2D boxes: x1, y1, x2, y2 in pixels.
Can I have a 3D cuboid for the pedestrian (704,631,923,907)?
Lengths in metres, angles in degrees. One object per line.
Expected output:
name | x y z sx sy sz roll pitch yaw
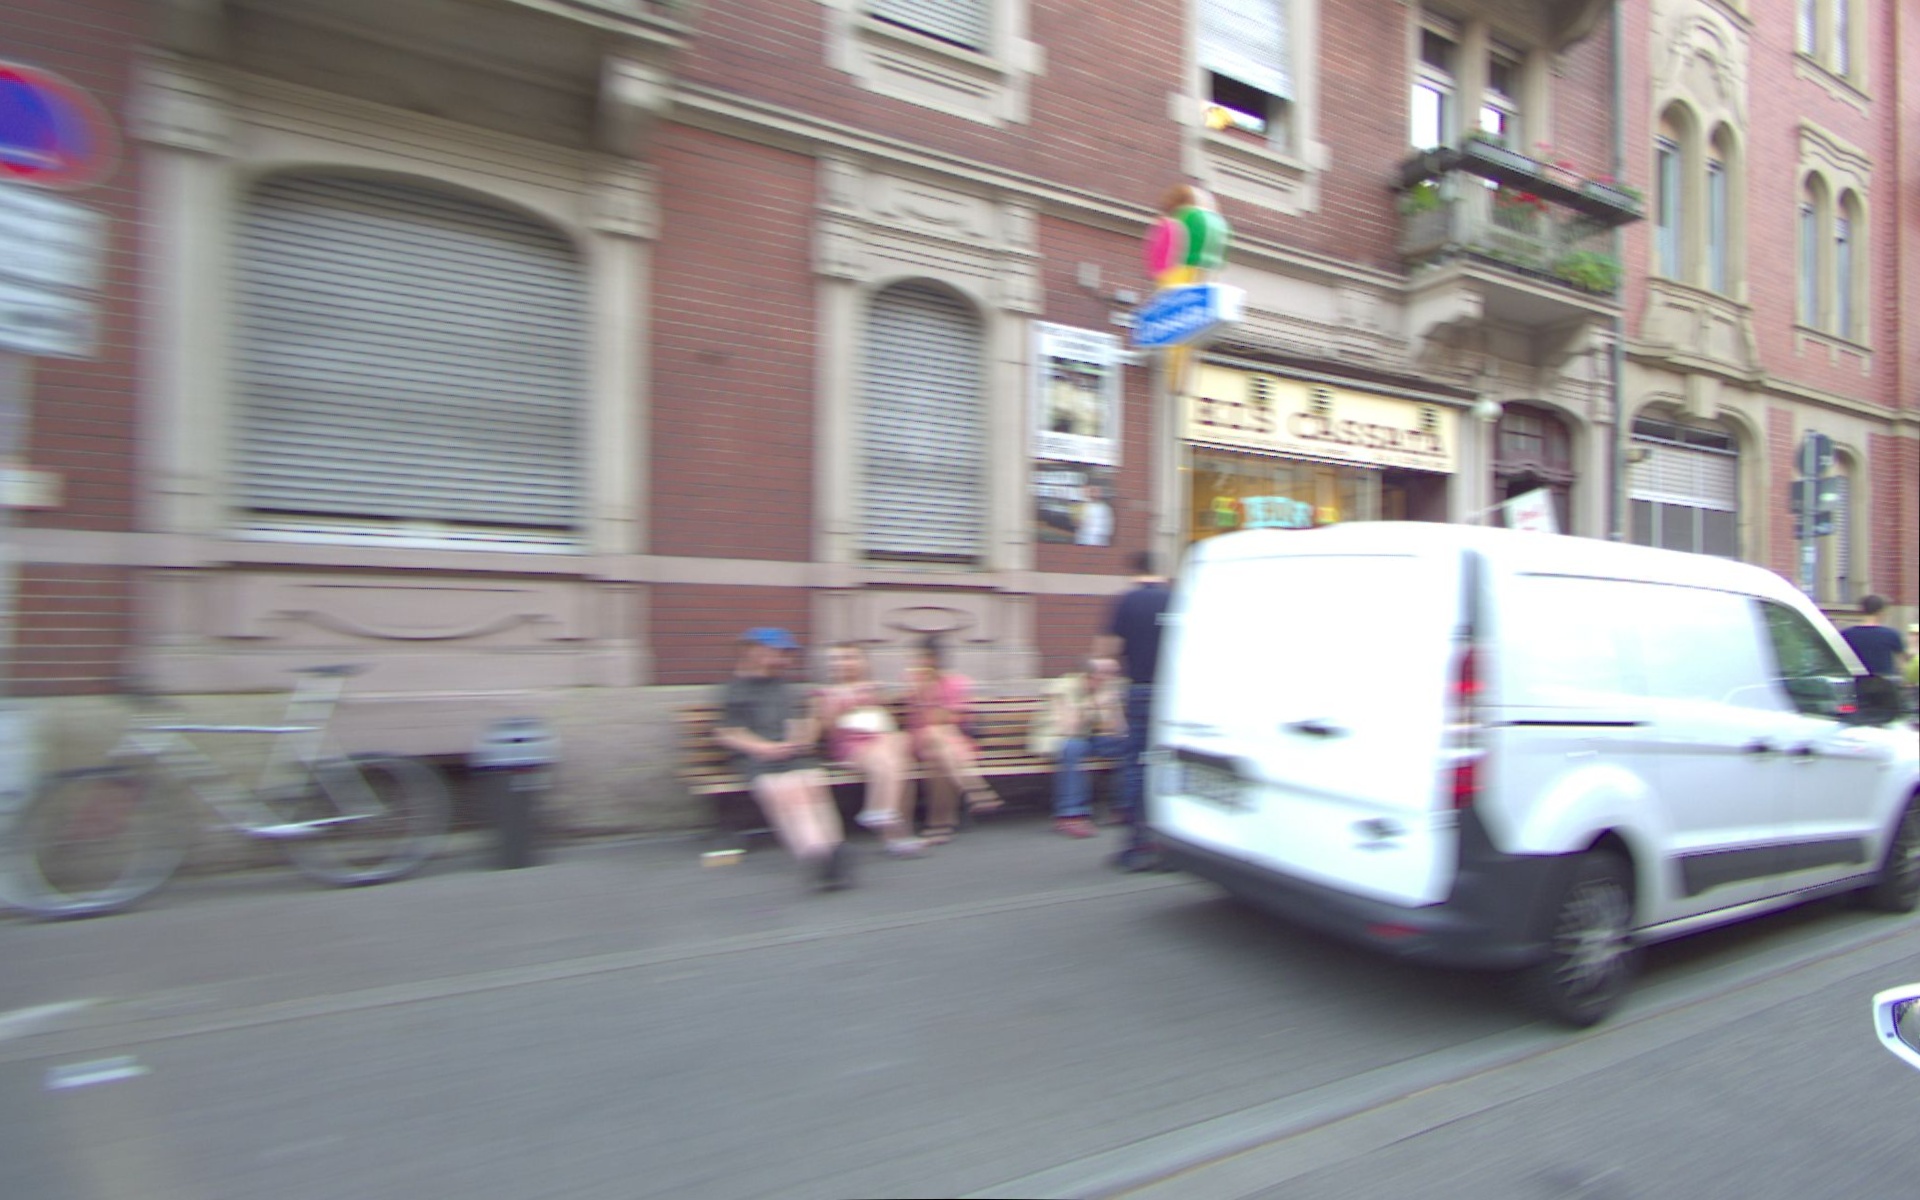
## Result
pedestrian | -0.855 0.812 5.474 0.634 1.219 1.554 2 0 -30

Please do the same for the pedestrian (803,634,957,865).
pedestrian | -0.506 0.836 6.038 0.497 1.219 1.034 2 0 -30

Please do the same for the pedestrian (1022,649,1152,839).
pedestrian | 0.839 0.920 6.692 0.566 1.155 0.628 2 0 -30

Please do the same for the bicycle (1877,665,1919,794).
bicycle | 8.880 1.146 8.974 1.500 1.082 0.464 2 0 -26

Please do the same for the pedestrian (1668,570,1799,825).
pedestrian | 5.921 0.708 7.693 0.714 1.838 0.593 2 0 -37

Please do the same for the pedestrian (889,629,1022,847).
pedestrian | -0.036 0.830 6.336 0.578 1.268 0.616 2 0 -30

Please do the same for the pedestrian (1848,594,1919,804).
pedestrian | 7.929 0.825 8.570 0.347 1.731 0.415 2 0 -33

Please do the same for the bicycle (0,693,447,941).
bicycle | -3.479 0.936 4.600 1.972 0.958 0.354 2 0 -32

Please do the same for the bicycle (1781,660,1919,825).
bicycle | 7.382 1.093 7.617 1.756 1.170 0.518 2 0 41

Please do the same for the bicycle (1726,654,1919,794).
bicycle | 7.906 1.108 9.186 1.971 1.170 0.465 2 0 -22

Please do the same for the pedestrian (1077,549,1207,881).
pedestrian | 1.010 0.618 5.681 0.574 1.753 0.621 2 0 0

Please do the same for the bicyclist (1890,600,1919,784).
bicyclist | 8.630 0.811 8.853 0.481 1.611 0.464 2 0 -25

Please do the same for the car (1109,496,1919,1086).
car | 3.091 0.658 5.010 4.534 1.812 1.762 2 -1 -30

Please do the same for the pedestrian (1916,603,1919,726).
pedestrian | 14.418 0.940 14.639 0.633 1.813 0.462 2 0 -25

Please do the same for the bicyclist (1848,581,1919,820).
bicyclist | 7.194 0.735 7.408 0.521 1.726 0.786 2 0 -21

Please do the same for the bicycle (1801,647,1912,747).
bicycle | 11.271 1.204 12.617 1.814 1.175 0.410 2 0 -28
